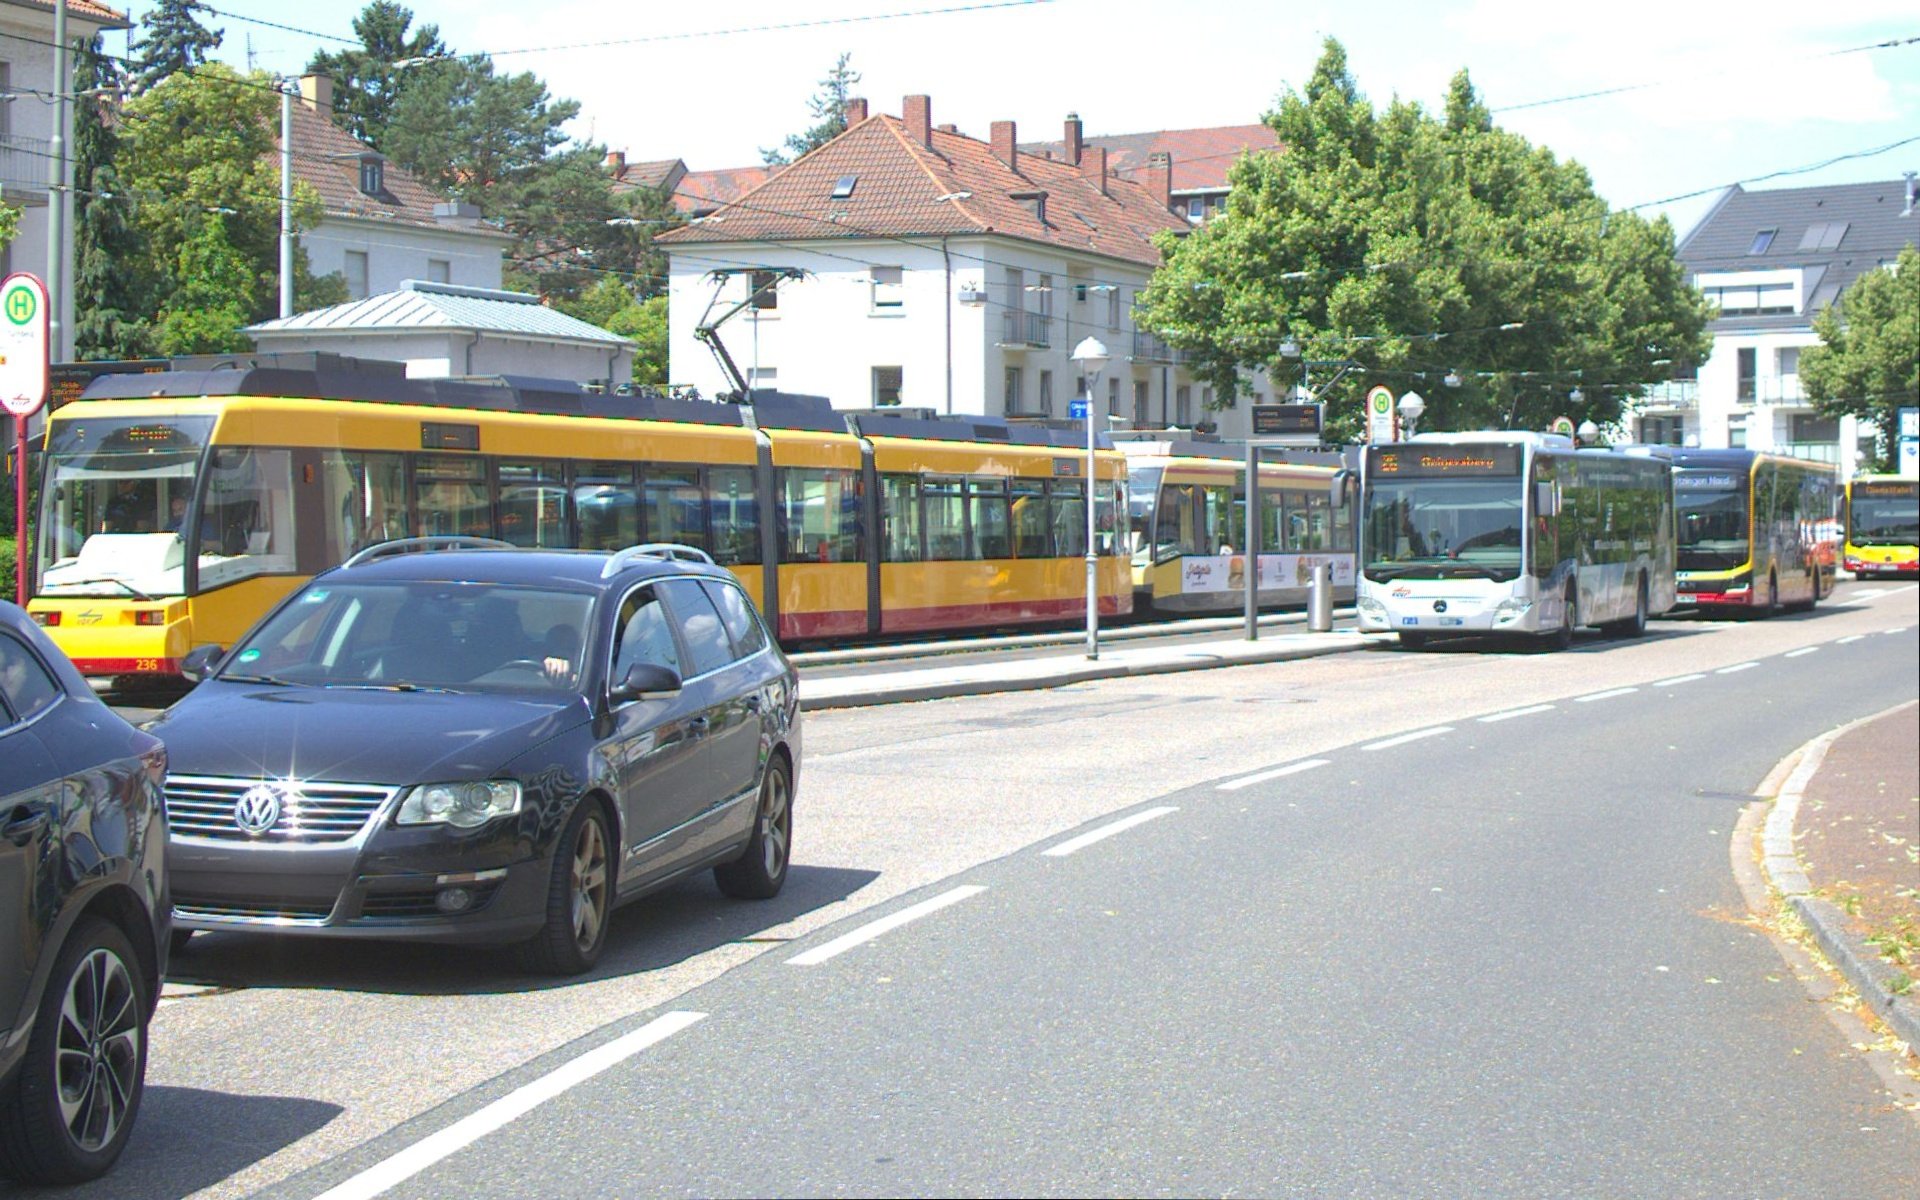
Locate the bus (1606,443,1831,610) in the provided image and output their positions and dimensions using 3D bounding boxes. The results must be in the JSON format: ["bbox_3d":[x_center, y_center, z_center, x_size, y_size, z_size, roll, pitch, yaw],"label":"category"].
[{"bbox_3d":[15.737,-1.493,70.571,2.733,3.118,11.995,1,1,21],"label":"bus"}]

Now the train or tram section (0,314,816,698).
[{"bbox_3d":[-5.778,-1.004,38.947,2.812,3.556,14.165,1,1,21],"label":"train or tram section"}]

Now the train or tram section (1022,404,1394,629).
[{"bbox_3d":[5.219,-1.588,67.321,2.788,3.882,15.535,1,1,21],"label":"train or tram section"}]

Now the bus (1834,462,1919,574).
[{"bbox_3d":[28.514,-2.464,103.996,2.733,3.207,11.037,1,1,21],"label":"bus"}]

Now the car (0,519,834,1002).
[{"bbox_3d":[-1.968,0.465,13.299,1.994,1.514,4.510,1,1,11],"label":"car"}]

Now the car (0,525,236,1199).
[{"bbox_3d":[-3.149,0.589,6.621,1.994,1.495,4.424,1,1,9],"label":"car"}]

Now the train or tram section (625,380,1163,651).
[{"bbox_3d":[-0.517,-1.241,52.359,2.788,3.556,14.689,1,1,21],"label":"train or tram section"}]

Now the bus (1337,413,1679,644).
[{"bbox_3d":[8.633,-1.077,52.561,2.733,3.118,11.995,1,1,21],"label":"bus"}]
